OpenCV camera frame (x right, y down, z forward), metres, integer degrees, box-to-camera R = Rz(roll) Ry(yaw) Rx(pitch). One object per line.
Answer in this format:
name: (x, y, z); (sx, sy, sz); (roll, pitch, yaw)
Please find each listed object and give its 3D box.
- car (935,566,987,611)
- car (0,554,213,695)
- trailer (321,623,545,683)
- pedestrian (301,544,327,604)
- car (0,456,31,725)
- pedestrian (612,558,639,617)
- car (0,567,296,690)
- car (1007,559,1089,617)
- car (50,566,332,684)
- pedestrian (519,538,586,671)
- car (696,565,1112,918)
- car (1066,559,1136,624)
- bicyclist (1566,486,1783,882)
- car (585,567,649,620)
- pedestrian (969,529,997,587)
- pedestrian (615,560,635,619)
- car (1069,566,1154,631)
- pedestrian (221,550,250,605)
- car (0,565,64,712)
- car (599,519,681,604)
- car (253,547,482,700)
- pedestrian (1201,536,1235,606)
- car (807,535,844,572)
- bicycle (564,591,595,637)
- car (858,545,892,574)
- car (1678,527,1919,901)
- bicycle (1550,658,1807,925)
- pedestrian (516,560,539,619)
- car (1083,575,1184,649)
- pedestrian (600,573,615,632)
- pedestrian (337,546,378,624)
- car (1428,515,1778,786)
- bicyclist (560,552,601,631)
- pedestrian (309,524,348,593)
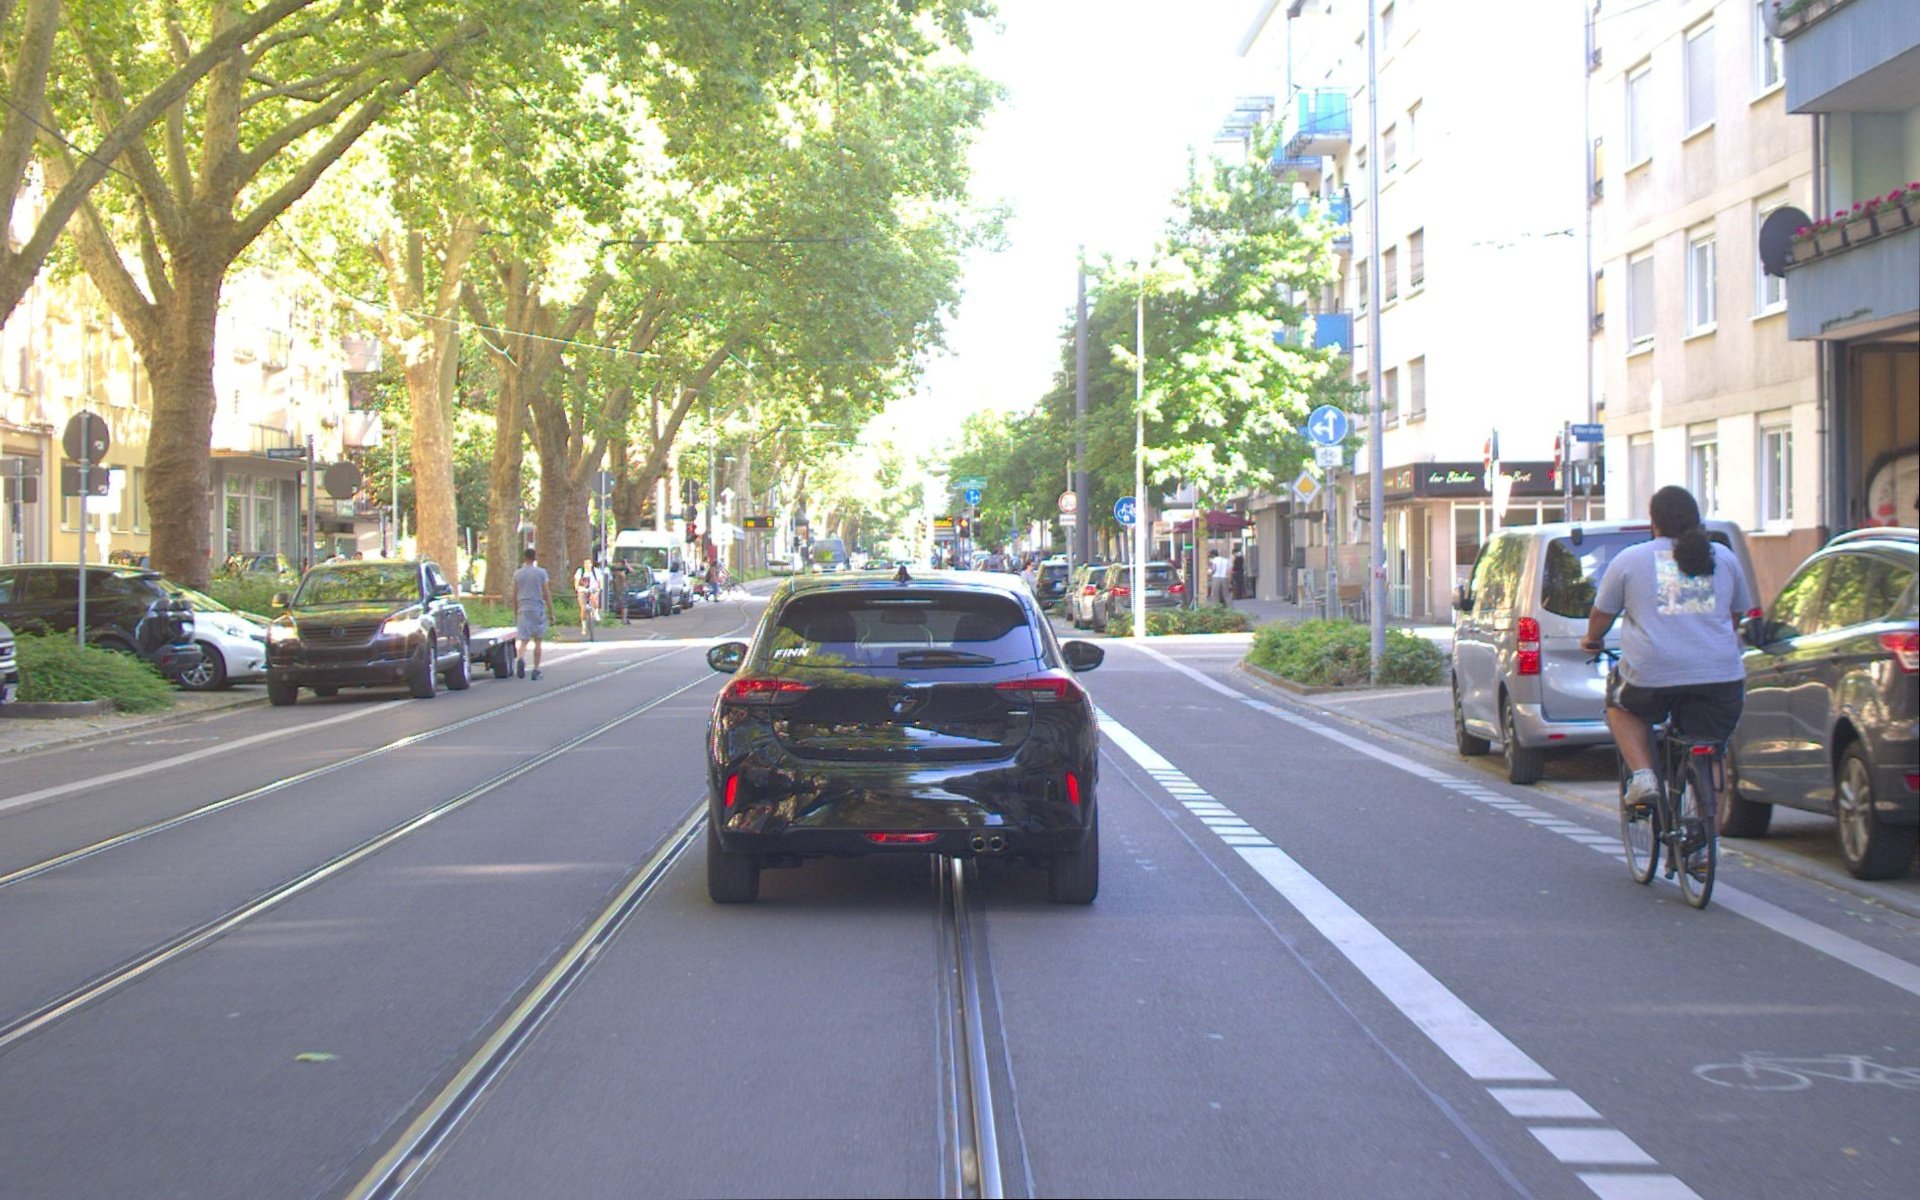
car: (0.053, -0.432, 128.717); (1.858, 1.646, 4.000); (0, 1, 1)
car: (-11.193, 0.281, 41.414); (3.986, 1.641, 1.894); (0, 1, -1)
trailer: (-7.129, 0.701, 47.206); (2.160, 0.629, 6.400); (0, 1, -1)
pedestrian: (-17.716, -0.717, 94.243); (0.552, 1.646, 0.649); (0, 1, 3)
car: (-11.629, -0.079, 32.900); (4.943, 2.559, 2.083); (0, 1, -3)
pedestrian: (-9.061, -0.344, 93.035); (0.683, 1.577, 0.557); (0, 0, -2)
car: (-10.675, 0.351, 44.104); (3.986, 1.516, 1.771); (0, 1, -1)
car: (2.552, -0.369, 100.521); (1.993, 1.634, 4.001); (0, 1, -4)
car: (-10.259, 0.315, 46.062); (3.430, 1.525, 1.787); (0, 1, -3)
pedestrian: (-5.444, 0.053, 45.897); (0.711, 1.729, 0.913); (-2, 1, -15)
car: (-0.259, 0.570, 15.967); (1.679, 1.418, 3.628); (1, 0, -1)
car: (3.495, -0.220, 85.573); (1.651, 1.568, 3.083); (0, 1, 1)
bicyclist: (3.249, 0.368, 15.701); (0.786, 1.753, 0.915); (0, 0, -1)
car: (-10.153, -0.209, 102.090); (1.754, 1.503, 4.001); (0, 1, -4)
pedestrian: (0.834, -1.519, 123.581); (0.856, 2.007, 1.069); (-5, 0, 0)
pedestrian: (-9.000, -0.293, 92.352); (0.506, 1.577, 0.527); (0, 0, -1)
car: (3.563, -0.044, 81.567); (1.718, 1.485, 3.682); (0, 1, -2)
pedestrian: (-18.322, -0.572, 86.908); (0.552, 1.398, 0.649); (0, 1, 3)
car: (-11.431, 0.389, 35.552); (3.854, 1.473, 1.861); (0, 1, -1)
car: (-10.039, -1.217, 108.205); (2.092, 2.575, 5.997); (0, 1, -1)
car: (-7.126, 0.244, 41.760); (1.993, 1.694, 4.485); (-2, 1, -1)
pedestrian: (6.486, -0.729, 86.332); (0.768, 1.742, 0.795); (0, 1, 10)
car: (-8.089, -2.802, 207.049); (1.993, 2.204, 5.103); (0, 1, -5)
bicycle: (-8.175, 0.288, 73.882); (0.520, 0.959, 1.929); (0, 1, -2)
car: (-4.870, -2.319, 197.356); (1.750, 1.646, 4.000); (0, 1, 1)
car: (5.092, 0.488, 17.790); (1.766, 1.699, 4.283); (0, 1, -1)
bicycle: (3.252, 0.840, 15.732); (0.701, 1.088, 1.990); (2, 0, -1)
pedestrian: (-11.628, -0.273, 92.373); (0.506, 1.577, 0.527); (0, 0, -19)
car: (3.796, 0.241, 75.979); (1.718, 1.568, 4.085); (0, 1, -4)
pedestrian: (-9.473, 0.070, 92.436); (0.346, 1.577, 0.508); (0, 0, -2)
pedestrian: (-14.468, -0.361, 82.565); (0.905, 1.862, 0.644); (0, 0, -6)
car: (4.834, 0.322, 26.508); (1.858, 1.883, 4.924); (0, 1, 1)
bicyclist: (-8.140, -0.193, 73.755); (0.784, 1.672, 0.957); (0, 1, -3)
pedestrian: (-14.968, -0.991, 81.508); (0.846, 1.627, 0.644); (0, 1, -6)
